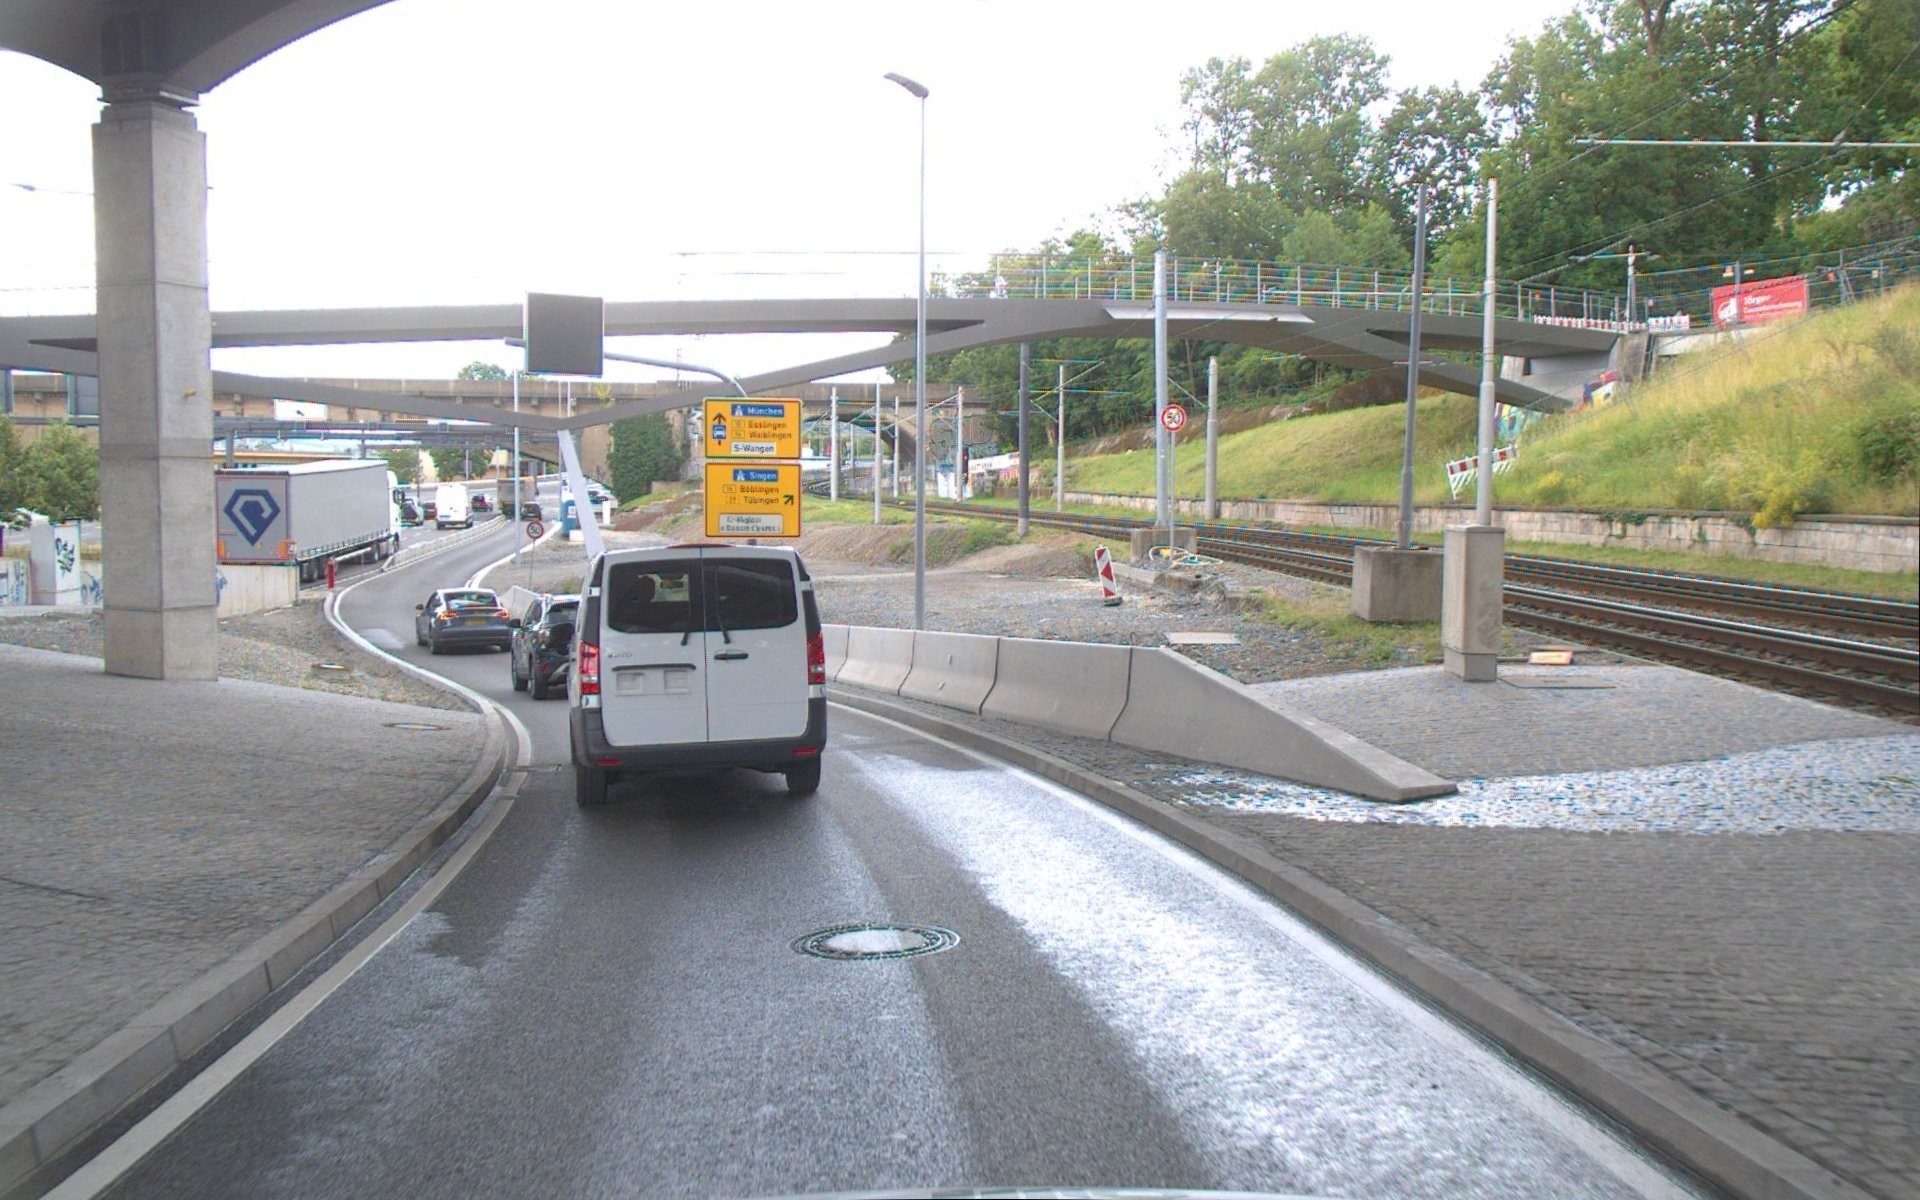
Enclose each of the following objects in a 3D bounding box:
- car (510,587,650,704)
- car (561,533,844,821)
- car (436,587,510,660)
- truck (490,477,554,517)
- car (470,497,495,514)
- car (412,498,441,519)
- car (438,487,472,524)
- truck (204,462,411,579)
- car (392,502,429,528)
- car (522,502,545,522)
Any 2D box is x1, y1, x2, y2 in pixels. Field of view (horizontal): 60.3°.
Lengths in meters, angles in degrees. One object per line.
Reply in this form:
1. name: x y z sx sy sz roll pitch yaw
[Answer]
1. car: -6.206 0.666 26.743 1.724 1.653 3.822 0 2 -21
2. car: -2.327 0.515 13.829 1.845 1.924 4.735 -2 0 -14
3. car: -11.513 0.517 38.982 1.478 1.494 3.380 -2 3 -19
4. truck: -41.411 -9.701 156.660 3.323 3.203 7.262 3 1 7
5. car: -45.636 -8.994 158.005 1.500 1.535 3.997 1 2 -5
6. car: -42.024 -7.210 130.329 1.501 1.535 3.994 1 2 -8
7. car: -31.199 -5.831 102.252 1.866 2.152 4.468 1 2 -15
8. truck: -25.066 -3.346 64.852 3.253 3.874 16.580 2 4 -6
9. car: -35.935 -5.559 108.207 1.614 1.648 3.994 1 2 -8
10. car: -37.123 -7.674 144.031 1.594 1.612 3.990 1 2 -11
